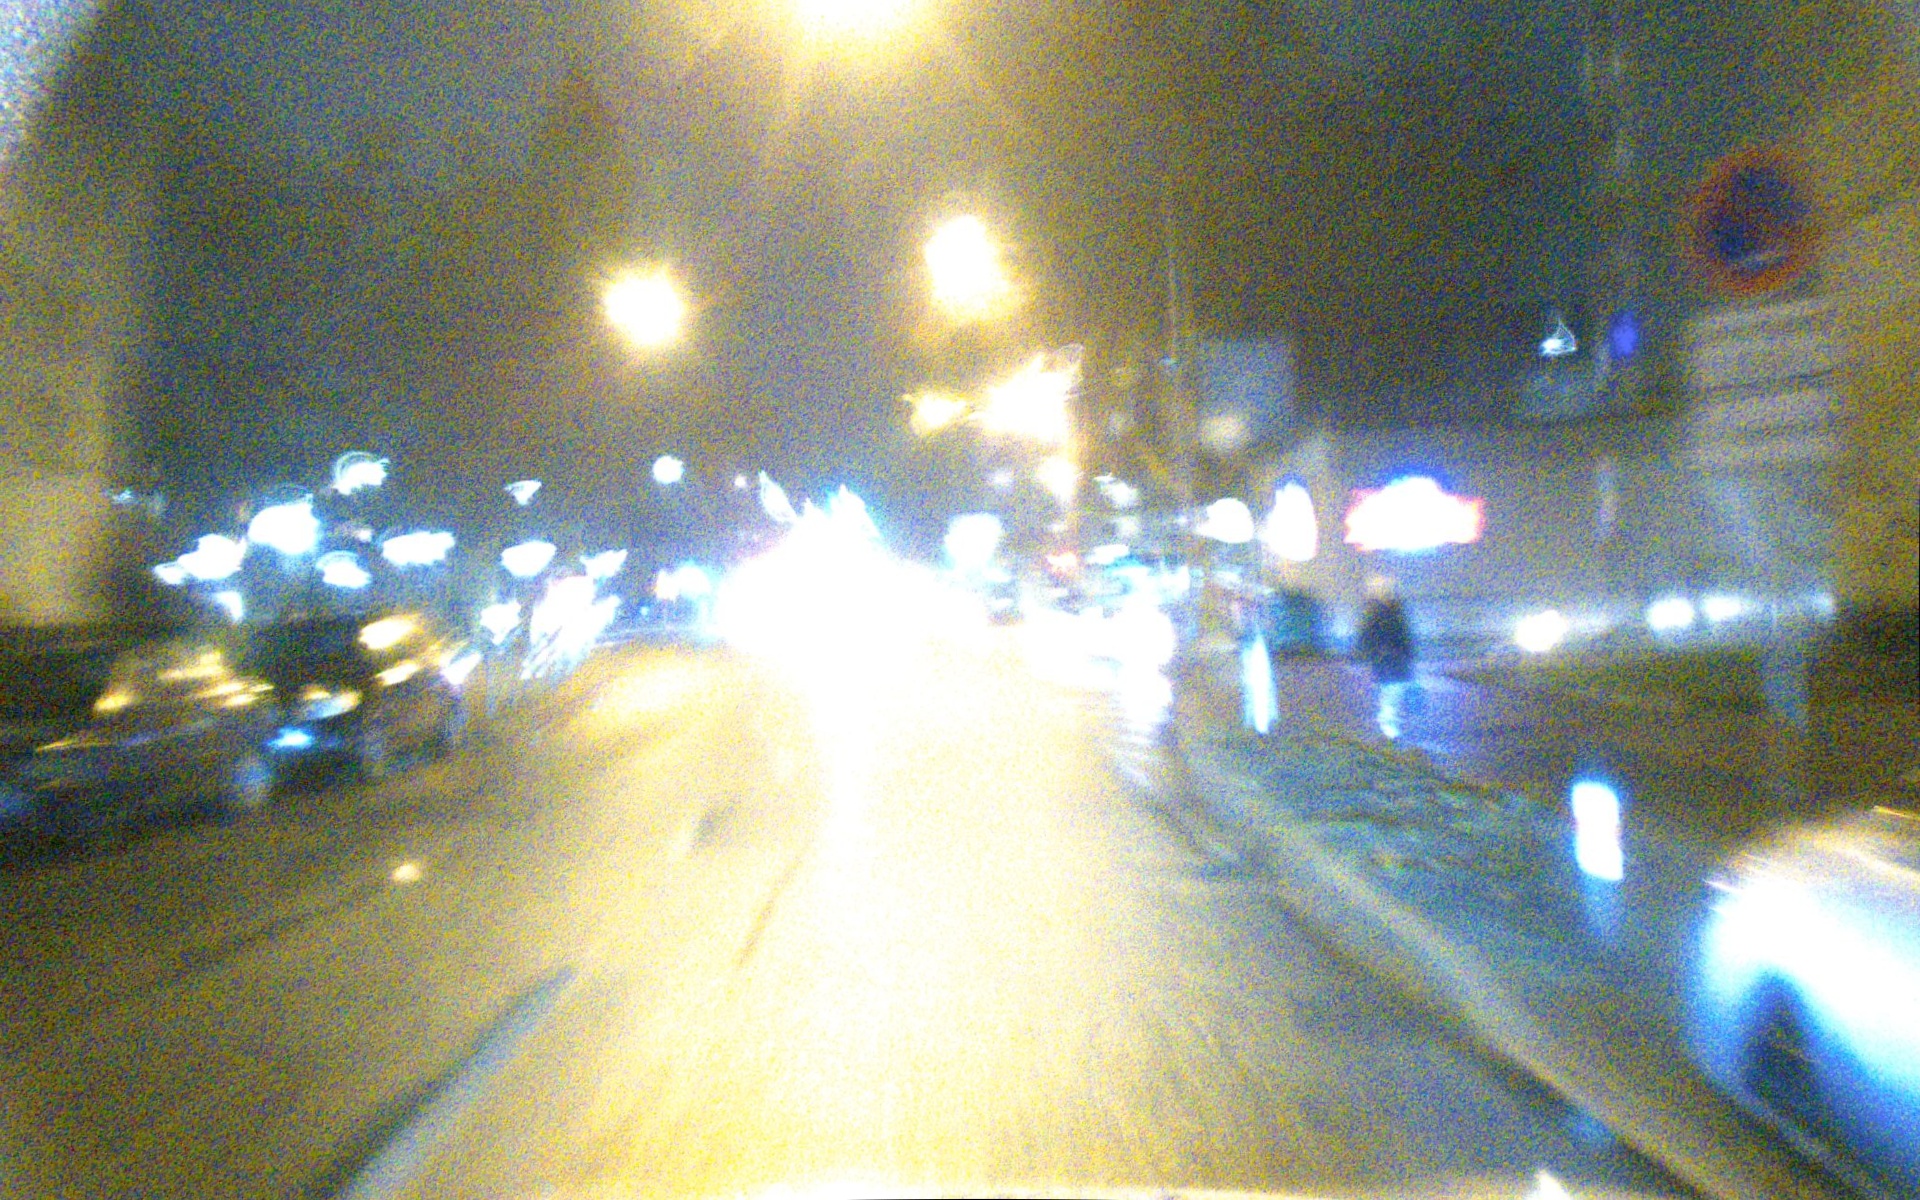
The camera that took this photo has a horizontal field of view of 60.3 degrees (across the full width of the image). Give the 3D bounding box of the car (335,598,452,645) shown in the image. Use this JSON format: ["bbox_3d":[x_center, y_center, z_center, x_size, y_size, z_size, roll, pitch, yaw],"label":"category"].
[{"bbox_3d":[-19.055,0.709,55.783,1.677,1.456,3.921,-1,0,18],"label":"car"}]

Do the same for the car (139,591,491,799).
[{"bbox_3d":[-5.926,0.771,15.786,1.566,1.591,4.379,-4,0,-1],"label":"car"}]

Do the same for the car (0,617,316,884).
[{"bbox_3d":[-6.030,0.906,11.203,1.566,1.397,4.353,-4,0,-1],"label":"car"}]

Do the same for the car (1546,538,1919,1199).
[{"bbox_3d":[2.881,0.610,2.976,1.786,1.557,4.781,-3,0,-2],"label":"car"}]

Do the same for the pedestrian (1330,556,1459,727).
[{"bbox_3d":[4.214,0.391,16.128,1.028,1.603,1.019,-1,0,4],"label":"pedestrian"}]

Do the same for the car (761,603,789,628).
[{"bbox_3d":[-12.537,1.032,111.922,1.817,1.525,4.762,-2,1,-7],"label":"car"}]

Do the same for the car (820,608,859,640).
[{"bbox_3d":[-6.245,1.224,85.312,1.783,1.569,4.719,-2,0,-7],"label":"car"}]

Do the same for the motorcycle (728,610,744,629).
[{"bbox_3d":[-14.846,1.288,109.704,0.687,1.158,2.176,-2,1,0],"label":"motorcycle"}]

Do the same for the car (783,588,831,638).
[{"bbox_3d":[-6.946,0.554,75.399,1.994,1.987,5.195,-4,1,-5],"label":"car"}]

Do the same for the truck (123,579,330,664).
[{"bbox_3d":[-19.521,0.514,44.325,2.078,2.048,5.266,-1,1,17],"label":"truck"}]

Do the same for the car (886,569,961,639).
[{"bbox_3d":[-1.175,0.112,51.218,2.125,2.006,4.299,-2,0,-3],"label":"car"}]

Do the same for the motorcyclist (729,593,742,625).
[{"bbox_3d":[-14.873,0.583,109.583,0.679,2.049,0.983,-2,0,0],"label":"motorcyclist"}]
